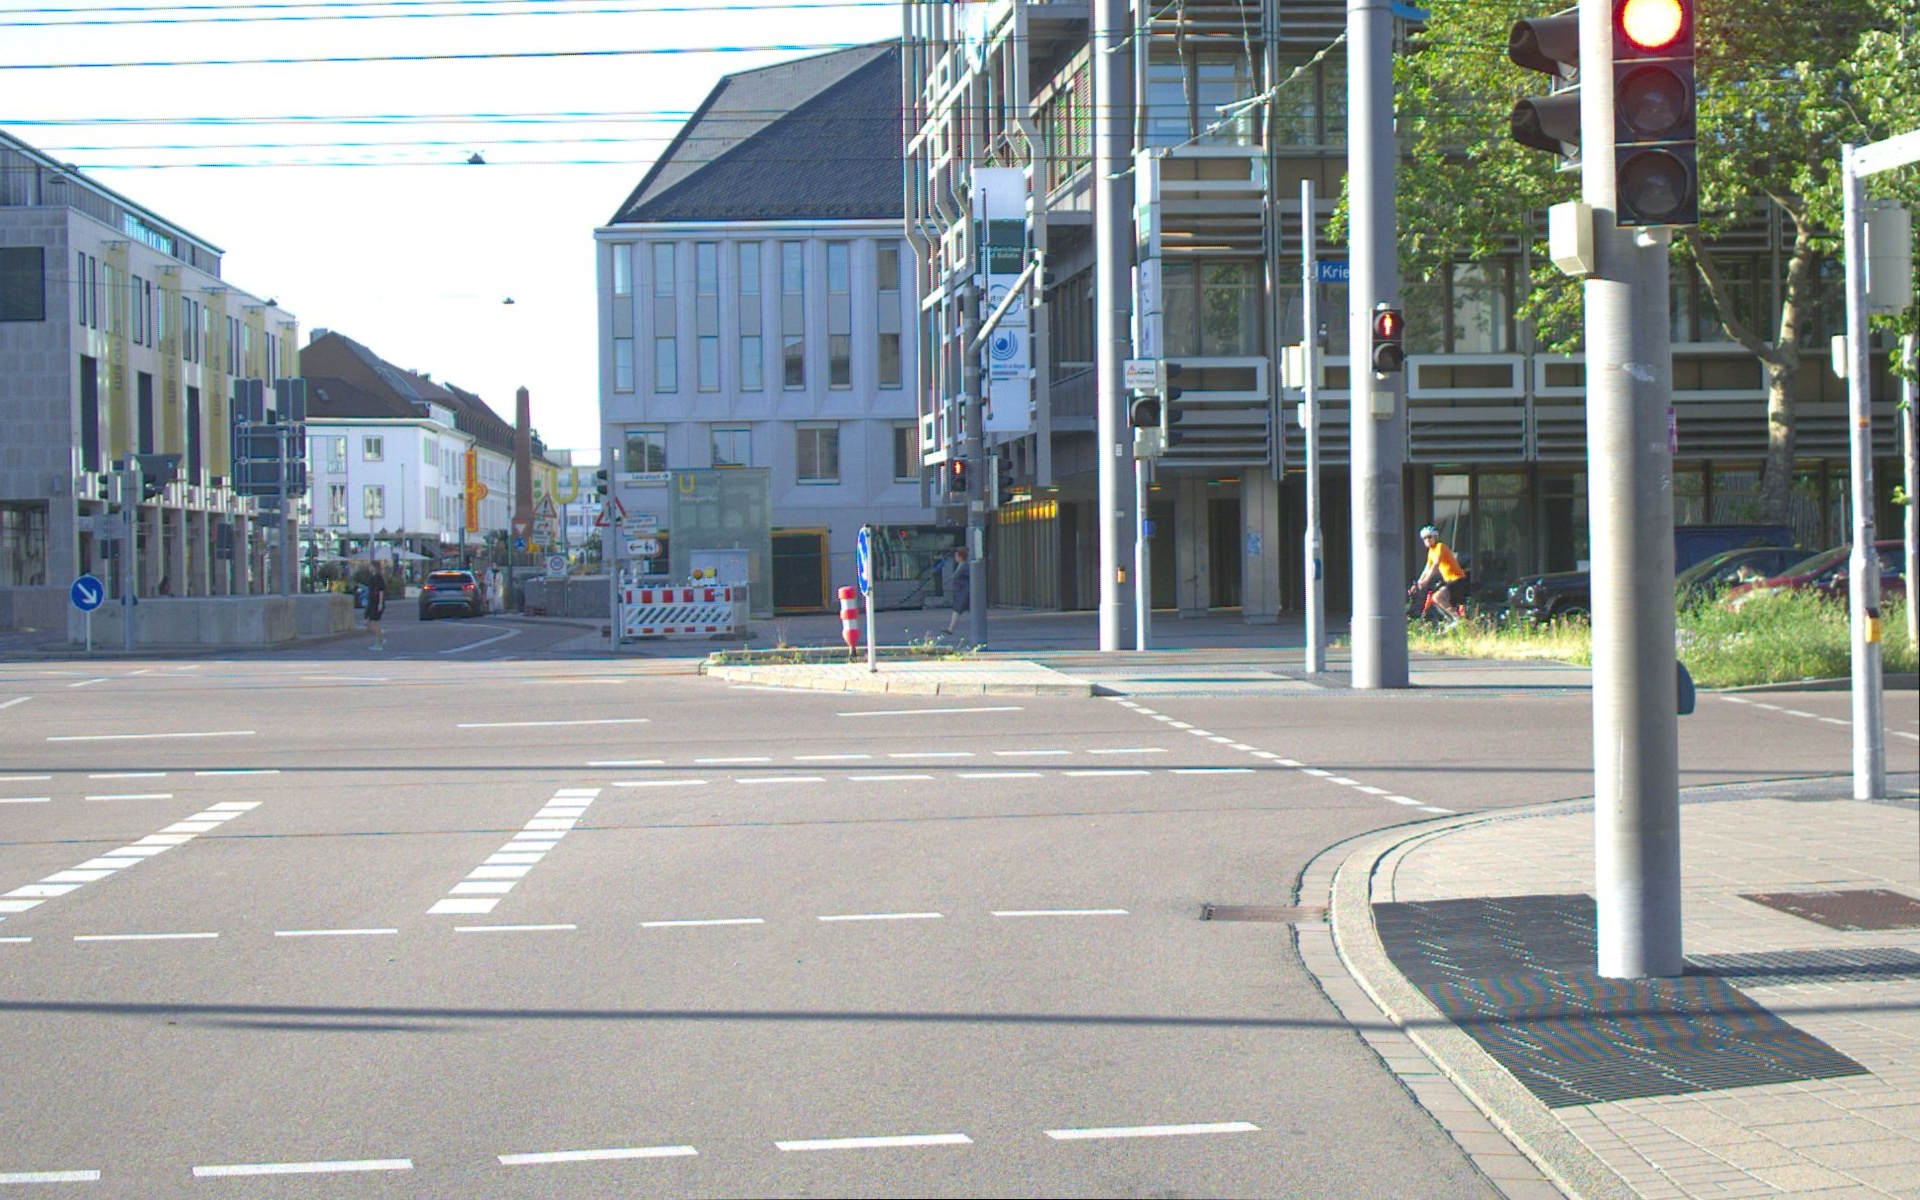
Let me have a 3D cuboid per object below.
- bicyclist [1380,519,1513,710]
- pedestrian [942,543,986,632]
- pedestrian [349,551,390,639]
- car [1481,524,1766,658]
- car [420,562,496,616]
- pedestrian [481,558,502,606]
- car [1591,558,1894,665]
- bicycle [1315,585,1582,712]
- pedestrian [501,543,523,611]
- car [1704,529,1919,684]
[{"bbox_3d":[6.662,0.190,47.134,1.567,2.571,0.932,-1,1,-9],"label":"bicyclist"},{"bbox_3d":[0.067,-0.238,64.955,0.729,1.652,0.651,-1,1,-7],"label":"pedestrian"},{"bbox_3d":[-11.247,-0.102,65.513,0.663,1.652,0.755,-1,1,-3],"label":"pedestrian"},{"bbox_3d":[10.345,-0.143,53.772,3.986,2.007,2.000,1,0,-3],"label":"car"},{"bbox_3d":[-15.809,-0.353,108.416,2.199,1.601,4.327,-1,1,-6],"label":"car"},{"bbox_3d":[-13.989,-0.537,102.633,0.609,1.406,0.570,-1,1,-6],"label":"pedestrian"},{"bbox_3d":[11.494,0.158,50.655,3.986,1.503,1.868,0,1,-3],"label":"car"},{"bbox_3d":[6.693,0.649,47.140,3.490,1.653,0.932,-1,1,-9],"label":"bicycle"},{"bbox_3d":[-13.406,-0.693,102.846,0.609,2.007,0.570,-1,1,-6],"label":"pedestrian"},{"bbox_3d":[12.288,0.087,46.404,3.986,2.007,2.000,1,0,-3],"label":"car"}]
